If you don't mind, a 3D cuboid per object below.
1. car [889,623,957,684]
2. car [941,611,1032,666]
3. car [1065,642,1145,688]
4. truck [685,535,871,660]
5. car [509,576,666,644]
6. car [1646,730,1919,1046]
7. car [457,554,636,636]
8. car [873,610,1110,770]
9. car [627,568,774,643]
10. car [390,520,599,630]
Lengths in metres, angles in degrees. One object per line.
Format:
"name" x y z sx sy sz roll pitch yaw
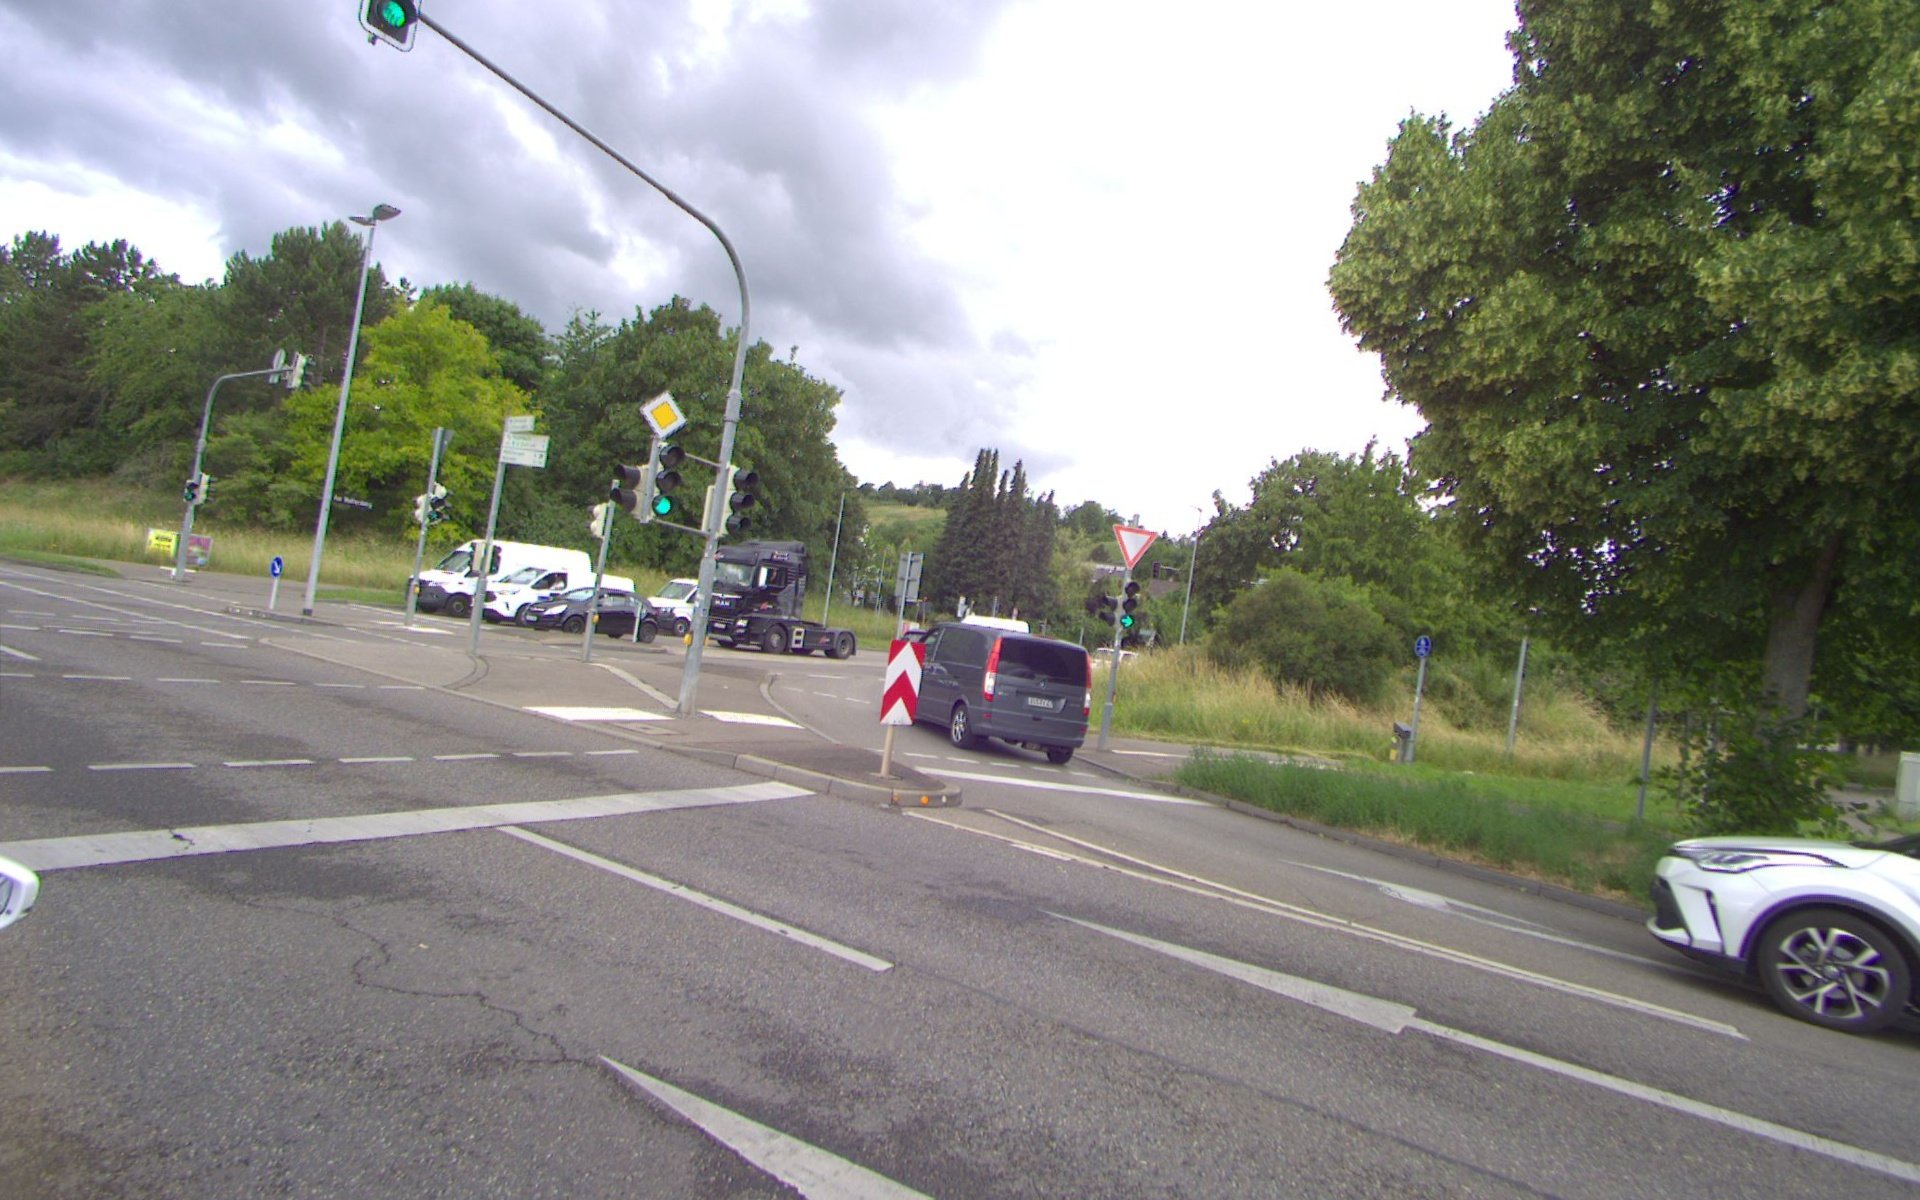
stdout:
"car" -1.045 1.625 29.792 1.596 1.445 3.622 9 -4 2
"car" 1.684 2.361 60.071 2.160 2.640 6.509 7 -1 32
"car" 6.540 2.928 44.984 1.754 1.613 4.451 8 -1 32
"truck" -6.213 0.027 35.338 2.682 3.580 6.061 7 -1 32
"car" -10.608 0.337 28.927 1.703 1.453 3.927 7 -1 31
"car" 6.629 1.928 5.804 4.240 1.550 1.784 7 -5 37
"car" -12.935 -0.093 31.813 1.999 1.918 4.862 7 -1 31
"car" 0.315 1.334 16.560 1.899 1.853 4.698 11 -2 -22
"car" -10.427 0.293 40.902 2.100 2.316 5.709 7 -1 32
"car" -15.338 -0.734 33.595 2.100 2.814 5.903 7 -1 32
